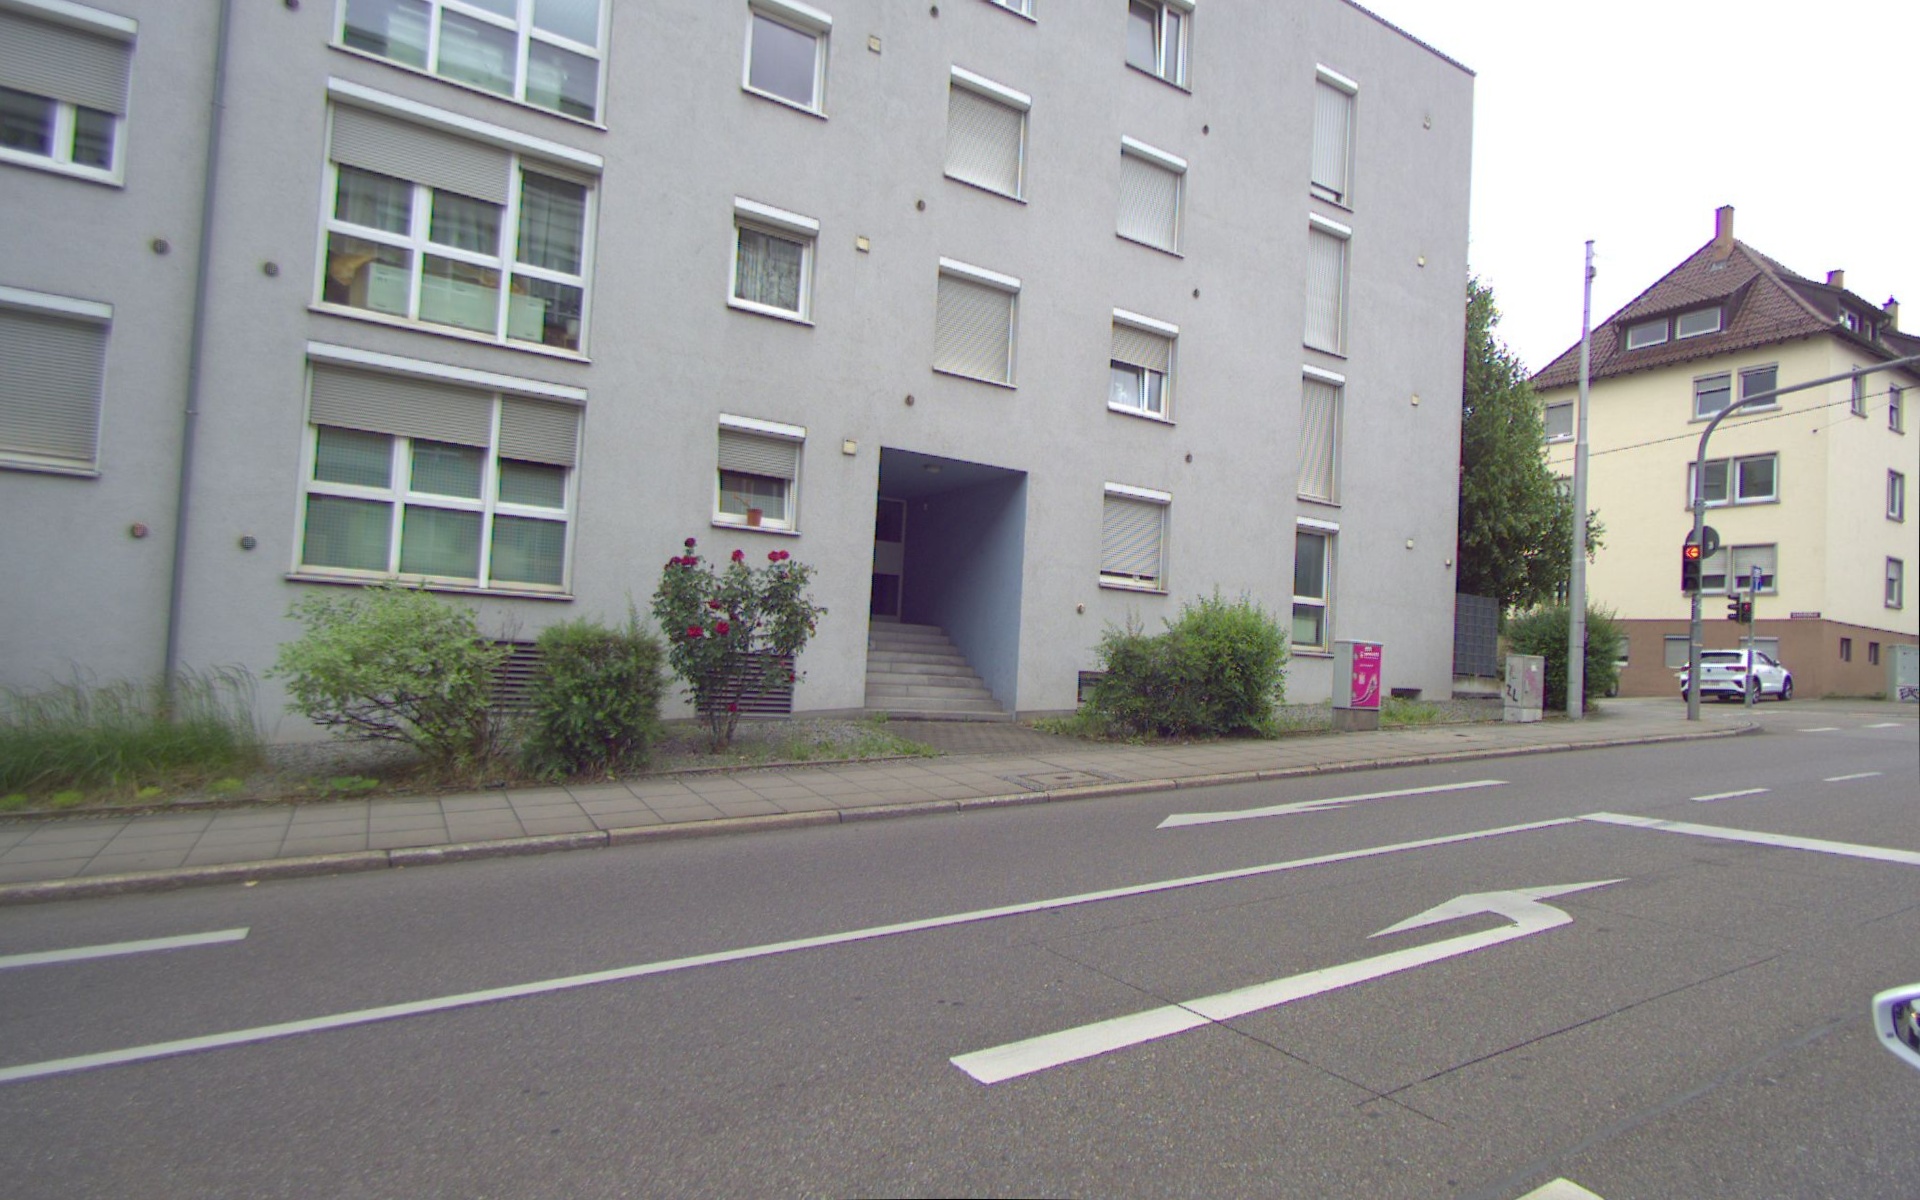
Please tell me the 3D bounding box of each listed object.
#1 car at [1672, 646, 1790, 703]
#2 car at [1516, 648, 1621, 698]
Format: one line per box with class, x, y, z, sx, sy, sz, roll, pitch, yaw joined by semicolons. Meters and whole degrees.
car;23.065;2.191;30.010;3.727;1.575;1.681;1;-4;-34
car;20.942;2.479;34.537;3.727;1.629;1.681;1;-4;-34
